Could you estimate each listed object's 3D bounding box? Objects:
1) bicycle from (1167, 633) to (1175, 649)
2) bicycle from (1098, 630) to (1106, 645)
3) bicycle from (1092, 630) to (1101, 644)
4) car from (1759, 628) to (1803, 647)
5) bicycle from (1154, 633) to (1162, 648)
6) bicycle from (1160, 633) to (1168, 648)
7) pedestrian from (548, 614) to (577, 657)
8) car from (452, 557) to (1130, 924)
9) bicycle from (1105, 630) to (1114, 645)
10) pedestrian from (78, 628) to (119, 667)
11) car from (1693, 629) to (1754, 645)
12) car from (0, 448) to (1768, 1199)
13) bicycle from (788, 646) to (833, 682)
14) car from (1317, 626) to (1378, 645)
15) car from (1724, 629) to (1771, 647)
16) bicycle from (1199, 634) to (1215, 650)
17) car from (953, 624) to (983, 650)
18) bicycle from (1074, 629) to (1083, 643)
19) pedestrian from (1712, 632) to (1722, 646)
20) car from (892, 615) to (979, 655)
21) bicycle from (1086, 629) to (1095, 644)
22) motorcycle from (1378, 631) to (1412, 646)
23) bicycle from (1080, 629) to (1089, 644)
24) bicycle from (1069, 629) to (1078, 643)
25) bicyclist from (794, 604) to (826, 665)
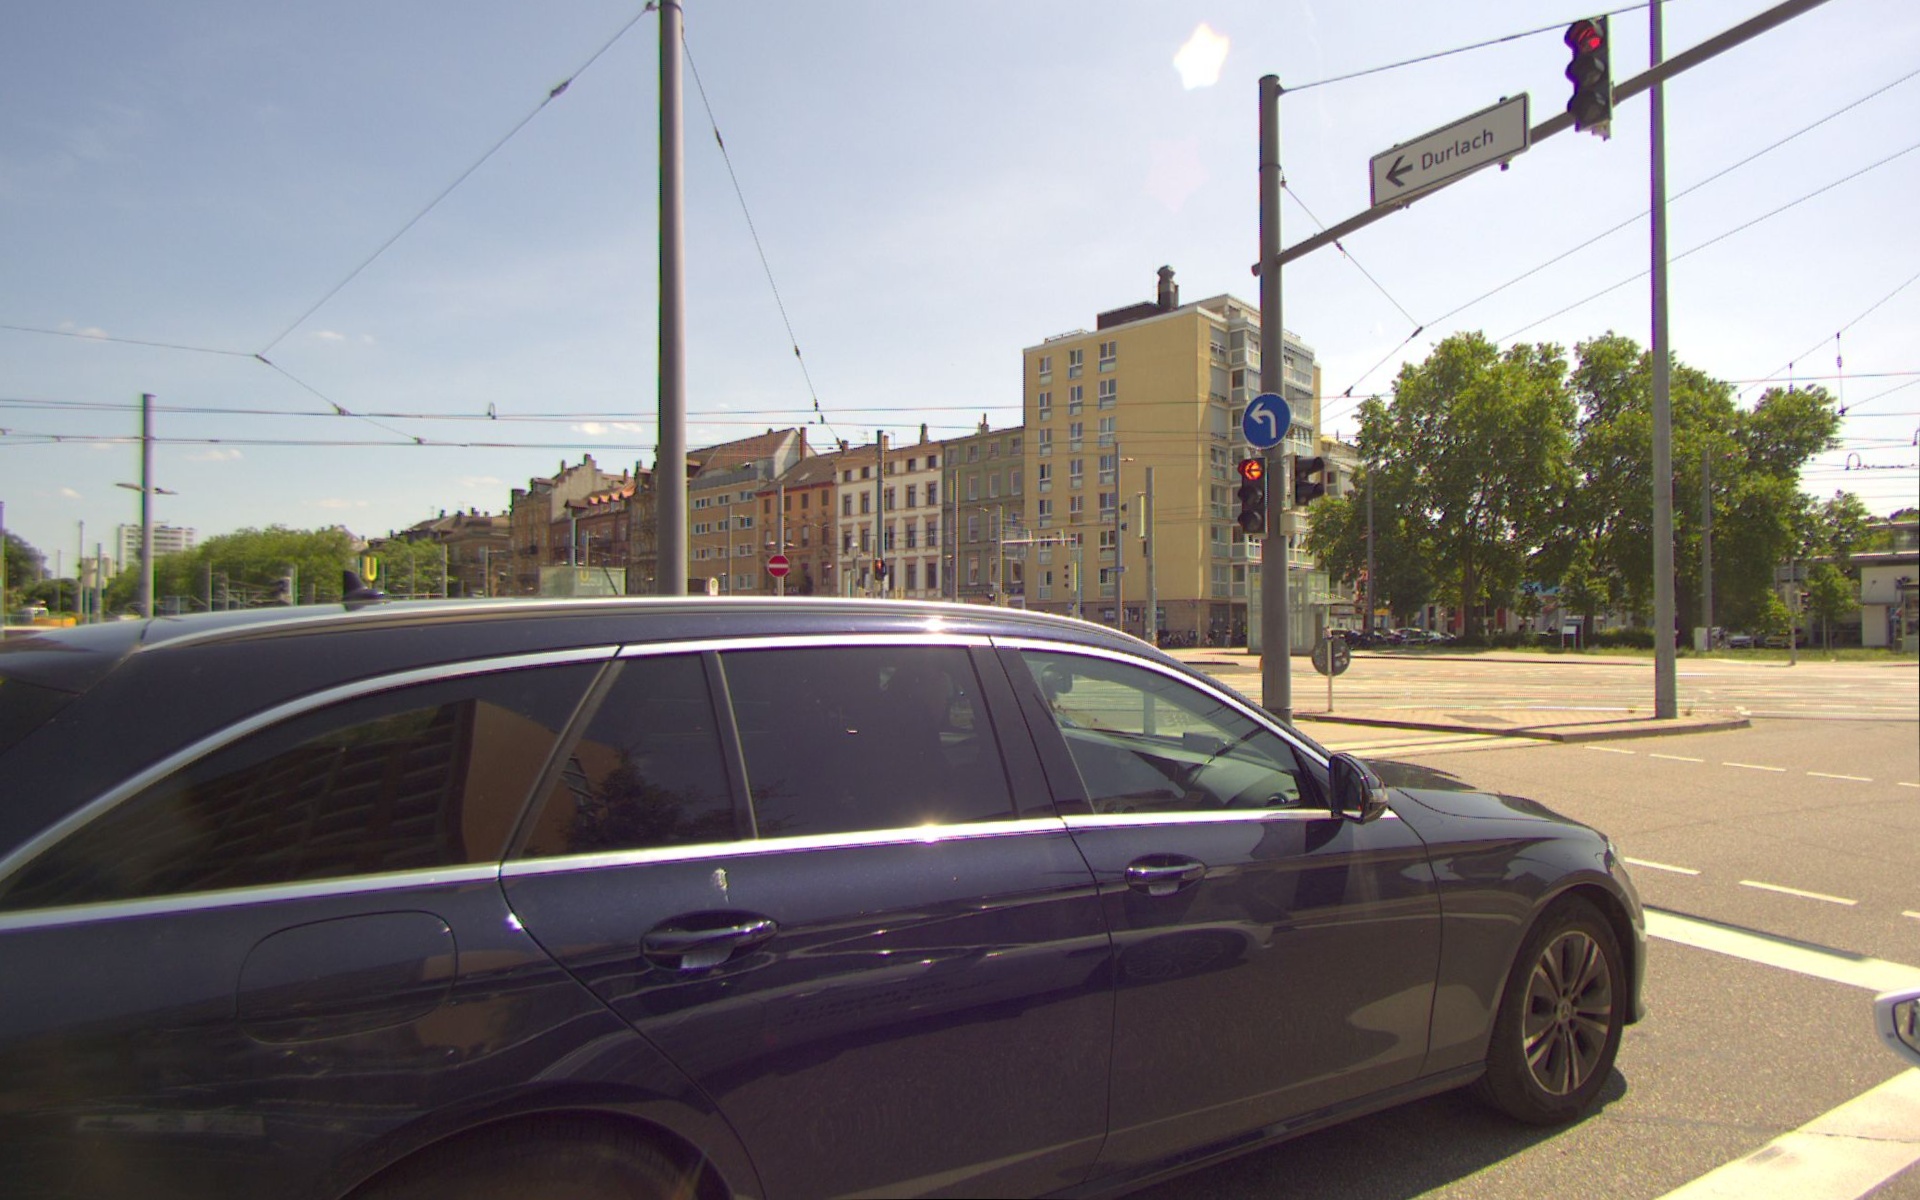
[{"bbox_3d":[14.378,2.794,68.573,0.424,1.040,1.445,0,-1,16],"label":"bicycle"},{"bbox_3d":[10.262,2.687,72.583,0.424,1.040,1.445,0,-1,16],"label":"bicycle"},{"bbox_3d":[9.946,2.679,72.980,0.424,1.040,1.445,0,-1,16],"label":"bicycle"},{"bbox_3d":[69.074,3.138,84.461,4.283,1.530,1.756,1,-2,-35],"label":"car"},{"bbox_3d":[13.635,2.774,69.149,0.424,1.040,1.445,0,-1,16],"label":"bicycle"},{"bbox_3d":[14.009,2.784,68.837,0.424,1.040,1.445,0,-1,16],"label":"bicycle"},{"bbox_3d":[-17.163,1.514,43.384,1.114,1.837,0.677,-1,-2,38],"label":"pedestrian"},{"bbox_3d":[-0.965,0.658,6.069,3.692,1.597,1.736,1,-2,-30],"label":"car"},{"bbox_3d":[10.780,2.702,72.324,0.424,1.040,1.445,0,-1,16],"label":"bicycle"},{"bbox_3d":[-30.228,1.670,35.233,0.978,1.352,0.527,0,-1,2],"label":"pedestrian"},{"bbox_3d":[71.014,3.423,93.463,4.245,1.530,1.771,-1,-2,26],"label":"car"},{"bbox_3d":[0.130,0.685,2.878,4.747,1.662,1.789,1,0,-30],"label":"car"},{"bbox_3d":[-3.950,1.667,26.421,0.620,0.866,1.887,1,-2,-26],"label":"bicycle"},{"bbox_3d":[29.406,2.690,76.316,3.938,1.439,1.992,-1,-2,38],"label":"car"},{"bbox_3d":[68.244,3.290,87.039,4.274,1.530,1.759,1,-2,-29],"label":"car"},{"bbox_3d":[16.792,2.870,68.304,0.427,1.040,1.435,-1,-2,44],"label":"bicycle"},{"bbox_3d":[0.547,2.578,70.507,1.803,1.773,3.998,0,-1,-4],"label":"car"},{"bbox_3d":[8.716,2.647,74.022,0.424,1.040,1.445,0,-1,16],"label":"bicycle"},{"bbox_3d":[64.750,3.336,85.880,0.439,1.220,0.511,1,-1,-24],"label":"pedestrian"},{"bbox_3d":[-1.352,1.874,53.999,1.987,2.084,4.807,1,-2,-44],"label":"car"},{"bbox_3d":[9.504,2.667,73.277,0.424,1.040,1.445,0,-1,16],"label":"bicycle"},{"bbox_3d":[27.549,2.433,63.637,1.887,0.974,0.524,-1,-1,31],"label":"motorcycle"},{"bbox_3d":[9.143,2.657,73.585,0.424,1.040,1.445,0,-1,16],"label":"bicycle"},{"bbox_3d":[8.374,2.638,74.361,0.424,1.040,1.445,0,-1,16],"label":"bicycle"},{"bbox_3d":[-3.945,0.896,26.441,0.433,1.549,1.245,2,0,-26],"label":"bicyclist"}]
